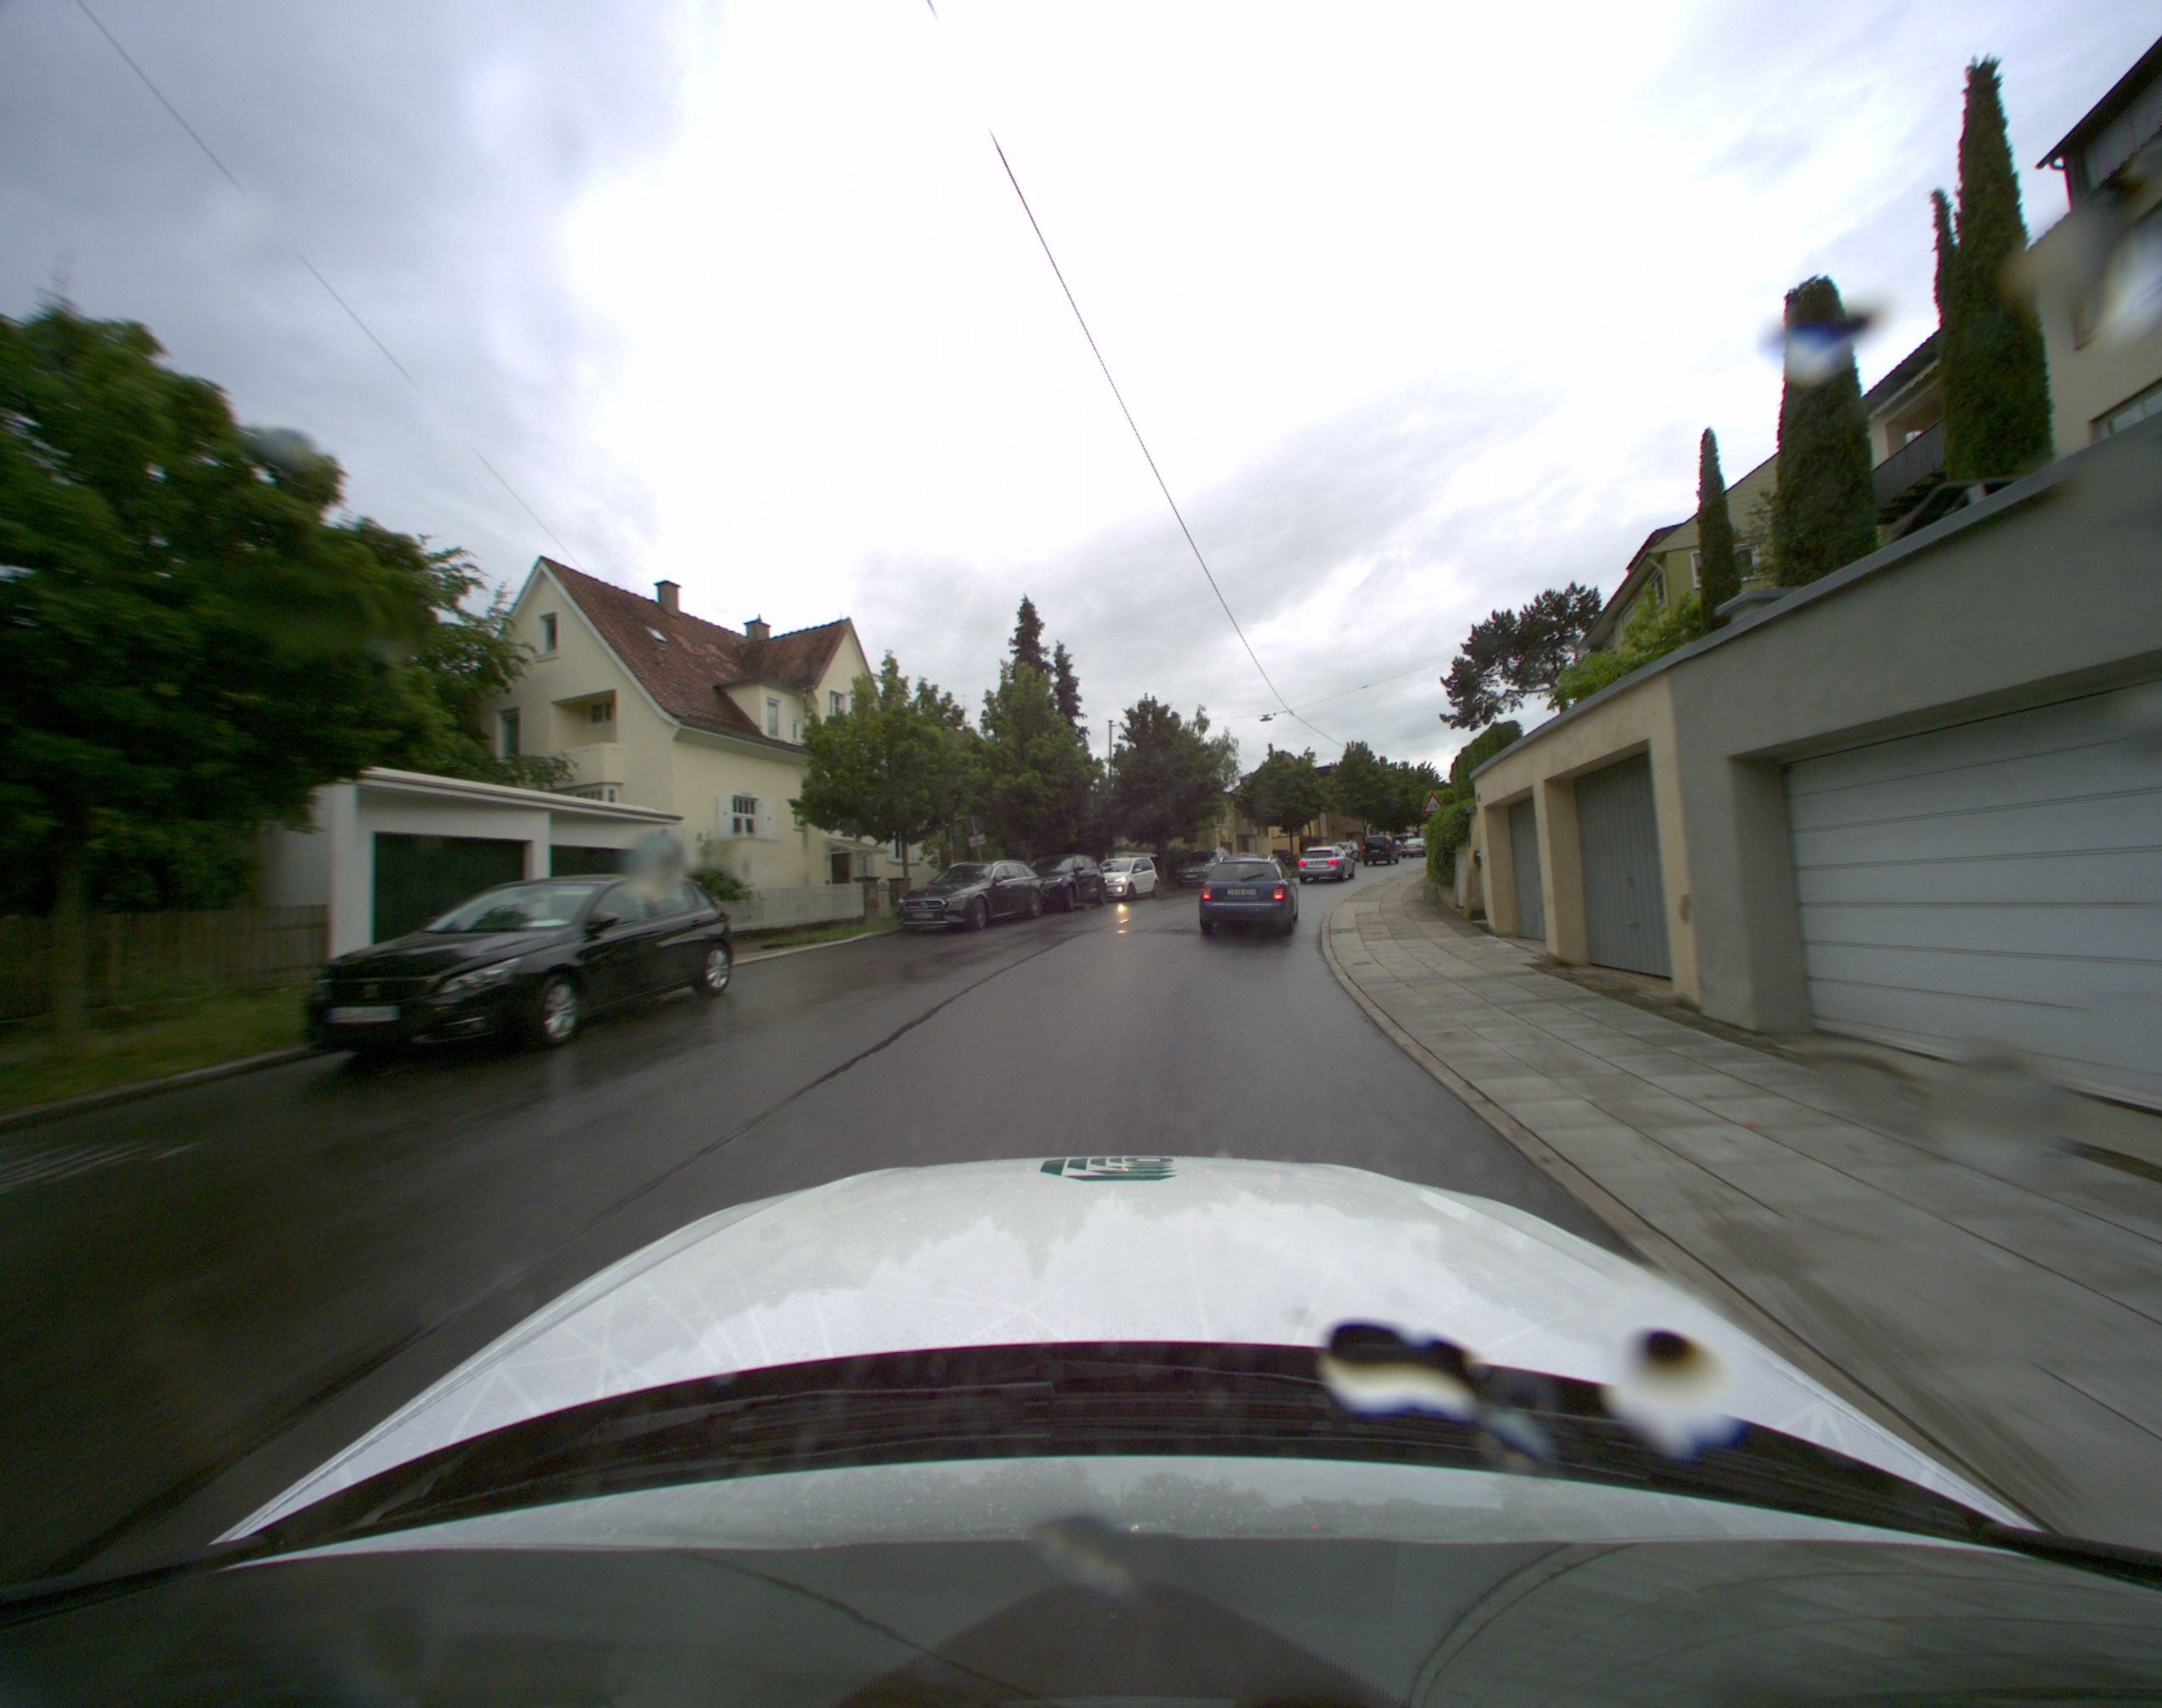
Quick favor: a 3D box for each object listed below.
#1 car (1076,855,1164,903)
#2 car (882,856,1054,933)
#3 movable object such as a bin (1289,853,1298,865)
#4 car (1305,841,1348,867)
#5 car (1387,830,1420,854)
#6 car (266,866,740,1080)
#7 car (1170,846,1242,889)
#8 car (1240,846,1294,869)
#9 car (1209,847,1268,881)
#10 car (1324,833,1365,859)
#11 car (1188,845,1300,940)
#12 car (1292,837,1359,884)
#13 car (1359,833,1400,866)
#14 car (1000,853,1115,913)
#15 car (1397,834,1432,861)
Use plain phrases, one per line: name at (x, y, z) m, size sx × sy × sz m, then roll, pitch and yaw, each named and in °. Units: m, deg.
car at (1.432, 0.829, 28.481) m, size 1.718 × 1.466 × 4.022 m, roll -3°, pitch 0°, yaw 23°
car at (-2.461, 0.863, 19.289) m, size 1.851 × 1.545 × 4.930 m, roll -3°, pitch -1°, yaw 20°
movable object such as a bin at (18.589, 0.419, 71.162) m, size 0.581 × 1.023 × 0.590 m, roll -4°, pitch 0°, yaw 30°
car at (17.301, -0.032, 57.248) m, size 1.751 × 1.535 × 4.634 m, roll -7°, pitch -1°, yaw 30°
car at (31.971, -1.198, 80.625) m, size 1.774 × 2.049 × 4.813 m, roll -9°, pitch -2°, yaw 34°
car at (-5.133, 0.919, 8.009) m, size 1.663 × 1.466 × 3.898 m, roll -3°, pitch -1°, yaw 3°
car at (5.697, 0.578, 36.725) m, size 1.784 × 1.669 × 4.453 m, roll -5°, pitch -1°, yaw 27°
car at (15.957, 0.277, 69.963) m, size 4.013 × 1.646 × 1.875 m, roll -5°, pitch -1°, yaw 33°
car at (8.028, 0.468, 41.205) m, size 1.666 × 1.472 × 3.889 m, roll -5°, pitch -1°, yaw 29°
car at (20.117, -0.595, 62.048) m, size 1.751 × 1.634 × 4.136 m, roll -9°, pitch -3°, yaw 33°
car at (3.400, 0.679, 16.421) m, size 1.720 × 1.466 × 4.019 m, roll -3°, pitch 2°, yaw 17°
car at (10.432, 0.227, 34.475) m, size 1.957 × 1.635 × 4.261 m, roll -2°, pitch 2°, yaw 26°
car at (18.889, -0.299, 51.429) m, size 1.717 × 1.768 × 4.262 m, roll -2°, pitch 2°, yaw 29°
car at (-0.573, 0.801, 23.961) m, size 1.718 × 1.545 × 4.233 m, roll -3°, pitch -1°, yaw 23°
car at (25.789, -0.544, 62.854) m, size 1.717 × 1.768 × 4.263 m, roll -2°, pitch 2°, yaw 32°
